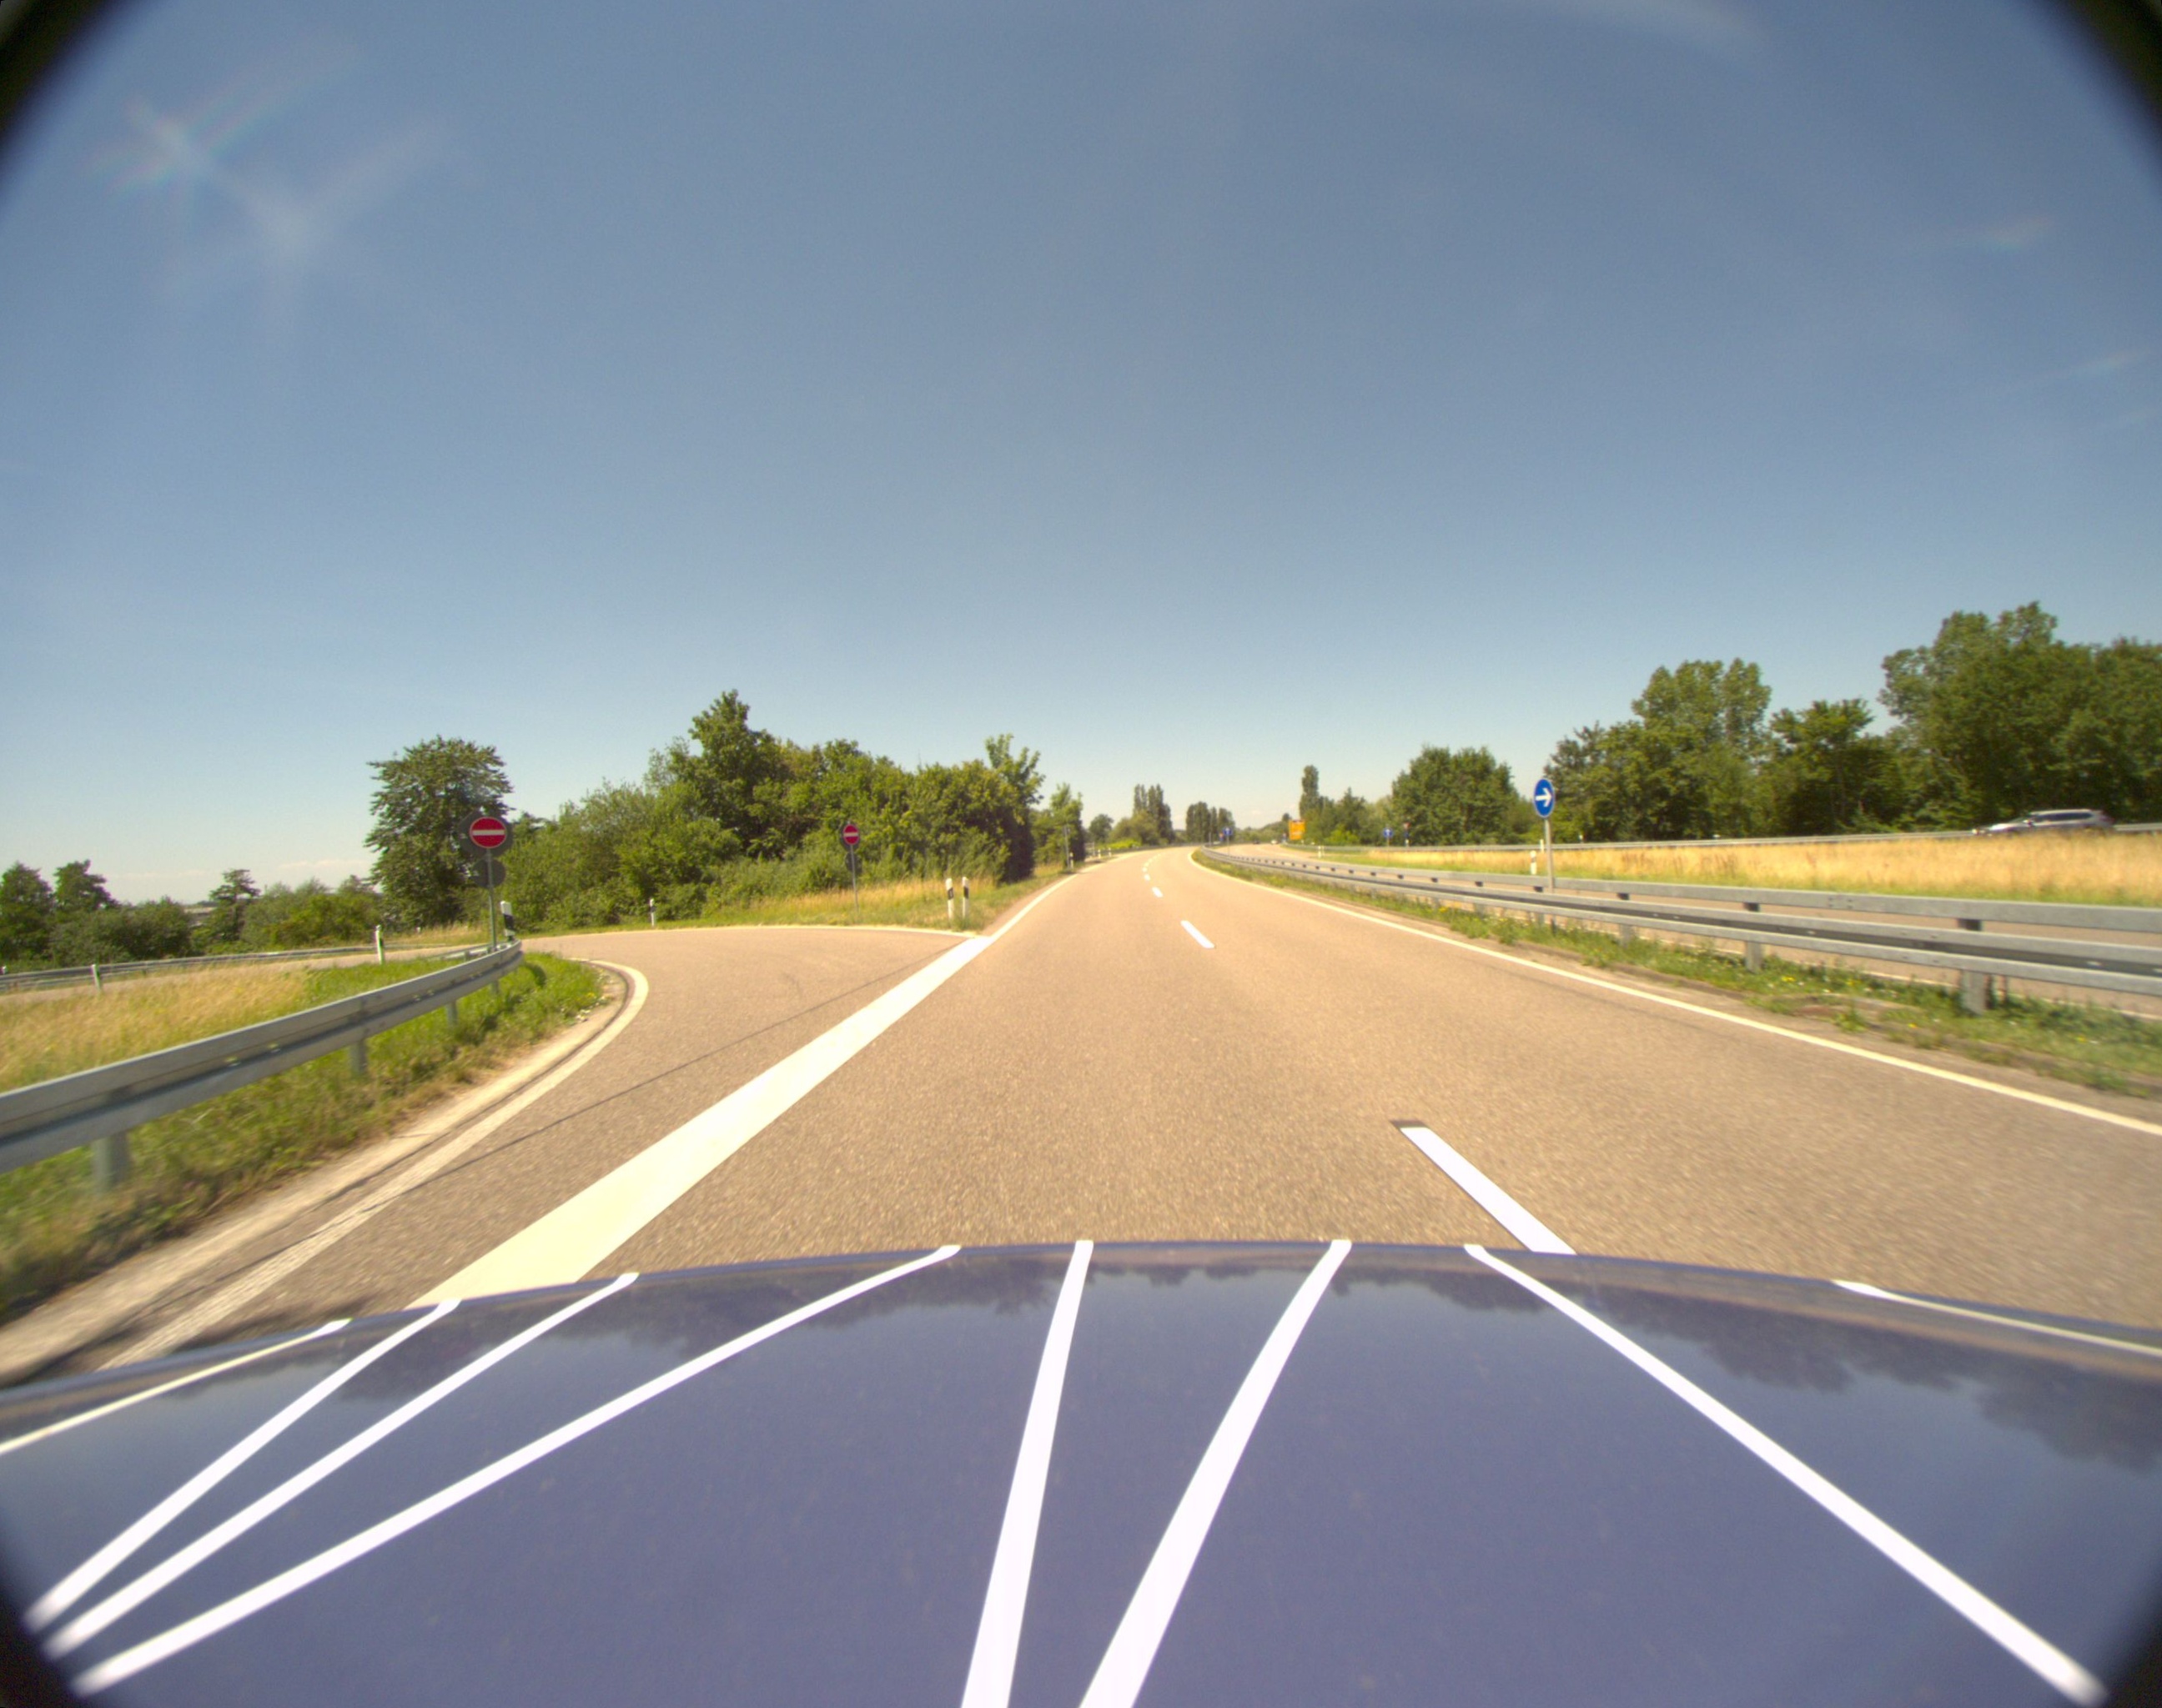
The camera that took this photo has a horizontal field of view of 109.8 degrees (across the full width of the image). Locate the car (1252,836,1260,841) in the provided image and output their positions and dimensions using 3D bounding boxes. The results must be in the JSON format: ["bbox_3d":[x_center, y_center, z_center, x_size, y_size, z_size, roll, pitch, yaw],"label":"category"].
[{"bbox_3d":[52.901,-4.702,229.459,1.972,1.478,3.874,-2,2,17],"label":"car"}]

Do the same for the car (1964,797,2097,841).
[{"bbox_3d":[50.754,-1.873,40.729,3.990,2.002,2.003,-4,2,34],"label":"car"}]

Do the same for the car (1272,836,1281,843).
[{"bbox_3d":[52.586,-3.908,204.103,1.972,1.478,3.874,-2,2,17],"label":"car"}]
